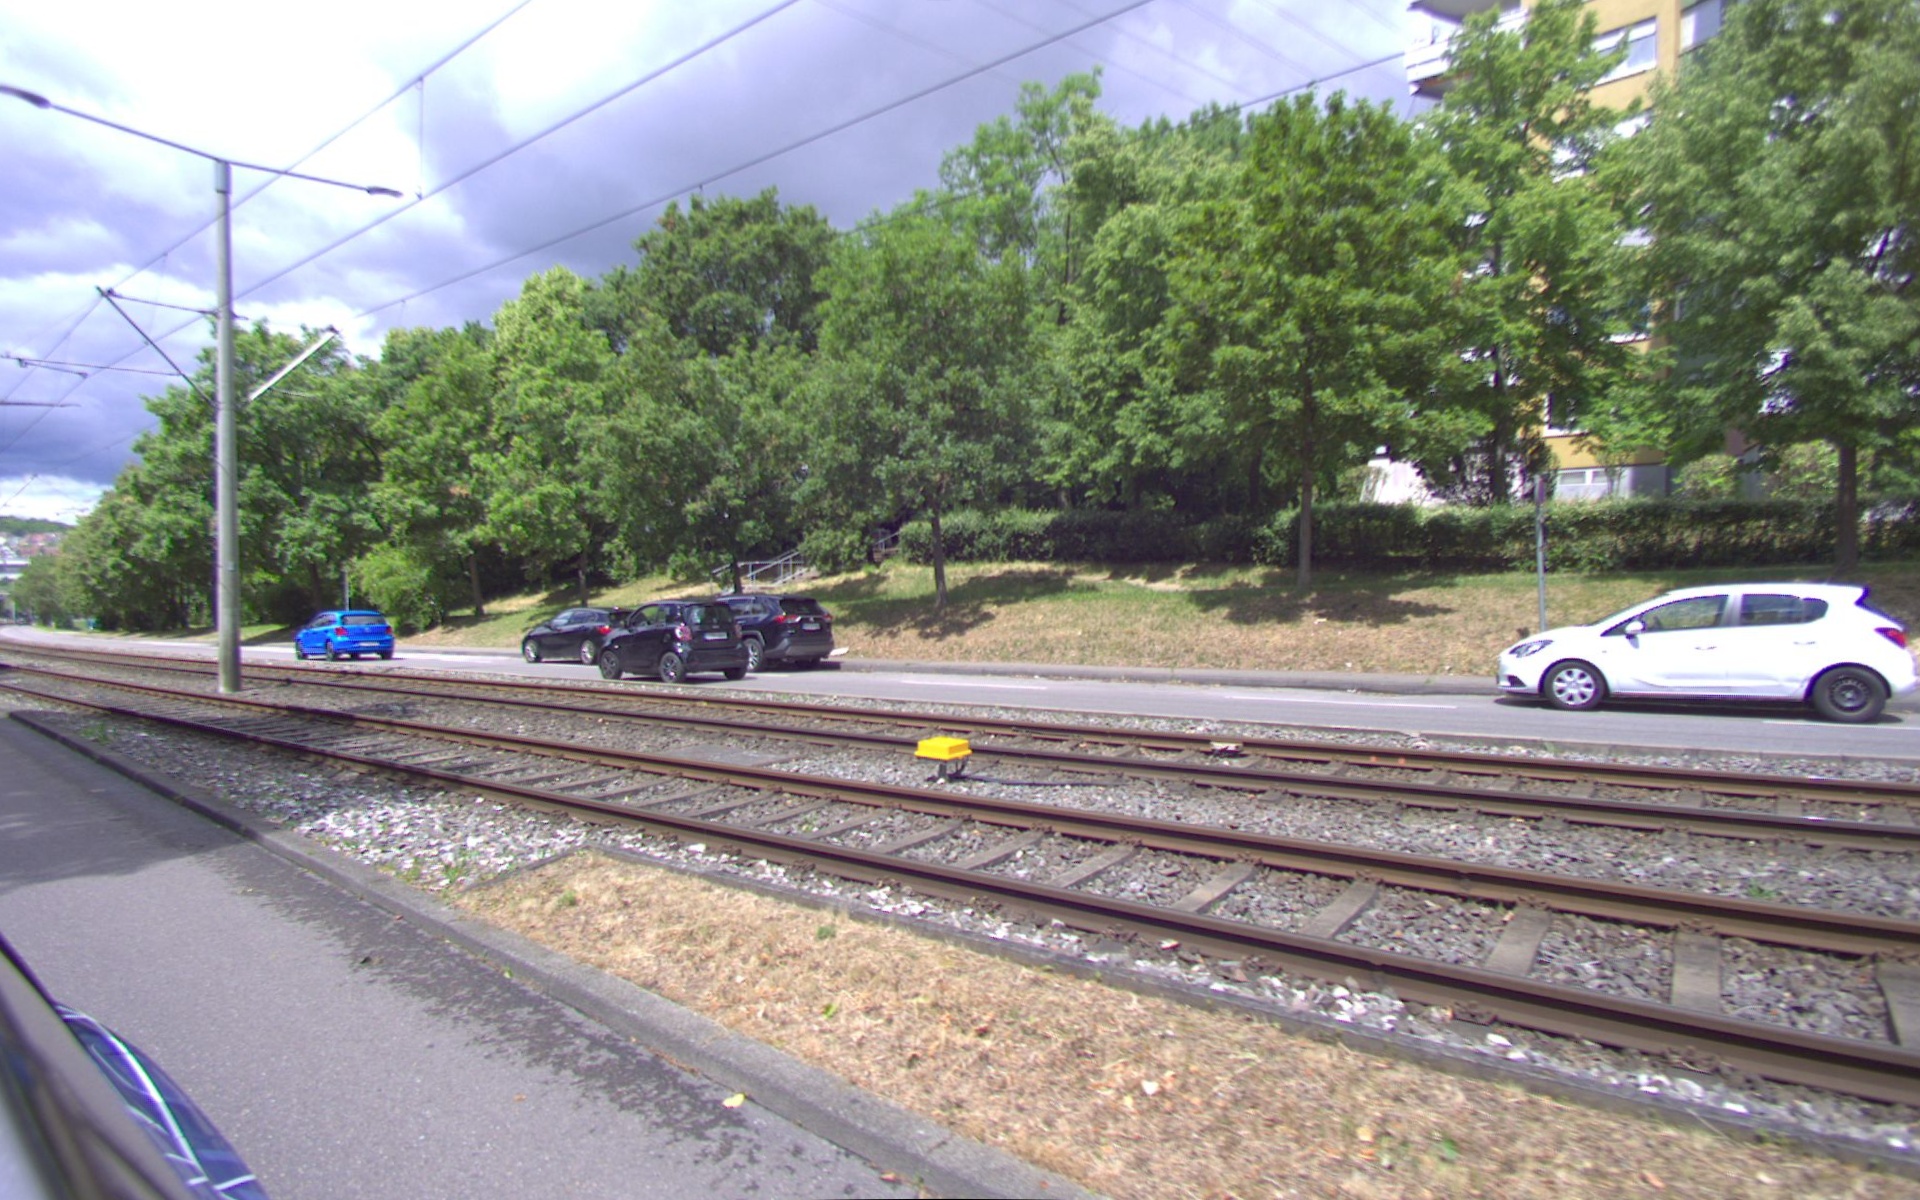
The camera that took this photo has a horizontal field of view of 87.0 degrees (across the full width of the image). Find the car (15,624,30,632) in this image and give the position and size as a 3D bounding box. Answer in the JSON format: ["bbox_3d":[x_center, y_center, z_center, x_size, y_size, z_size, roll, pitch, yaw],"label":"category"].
[{"bbox_3d":[-170.355,5.035,183.870,4.863,1.402,1.815,-2,-2,44],"label":"car"}]

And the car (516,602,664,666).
[{"bbox_3d":[-9.588,0.860,26.122,3.991,1.510,1.757,-1,0,38],"label":"car"}]

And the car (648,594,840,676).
[{"bbox_3d":[-4.828,0.714,22.323,4.376,1.642,1.757,0,-1,38],"label":"car"}]

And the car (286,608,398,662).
[{"bbox_3d":[-18.248,1.012,29.832,3.940,1.453,1.698,-1,0,41],"label":"car"}]

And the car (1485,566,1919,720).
[{"bbox_3d":[8.670,0.469,11.901,4.234,1.544,1.766,-1,-1,35],"label":"car"}]

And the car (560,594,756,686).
[{"bbox_3d":[-5.794,0.715,19.268,3.690,1.576,1.700,-1,0,37],"label":"car"}]
